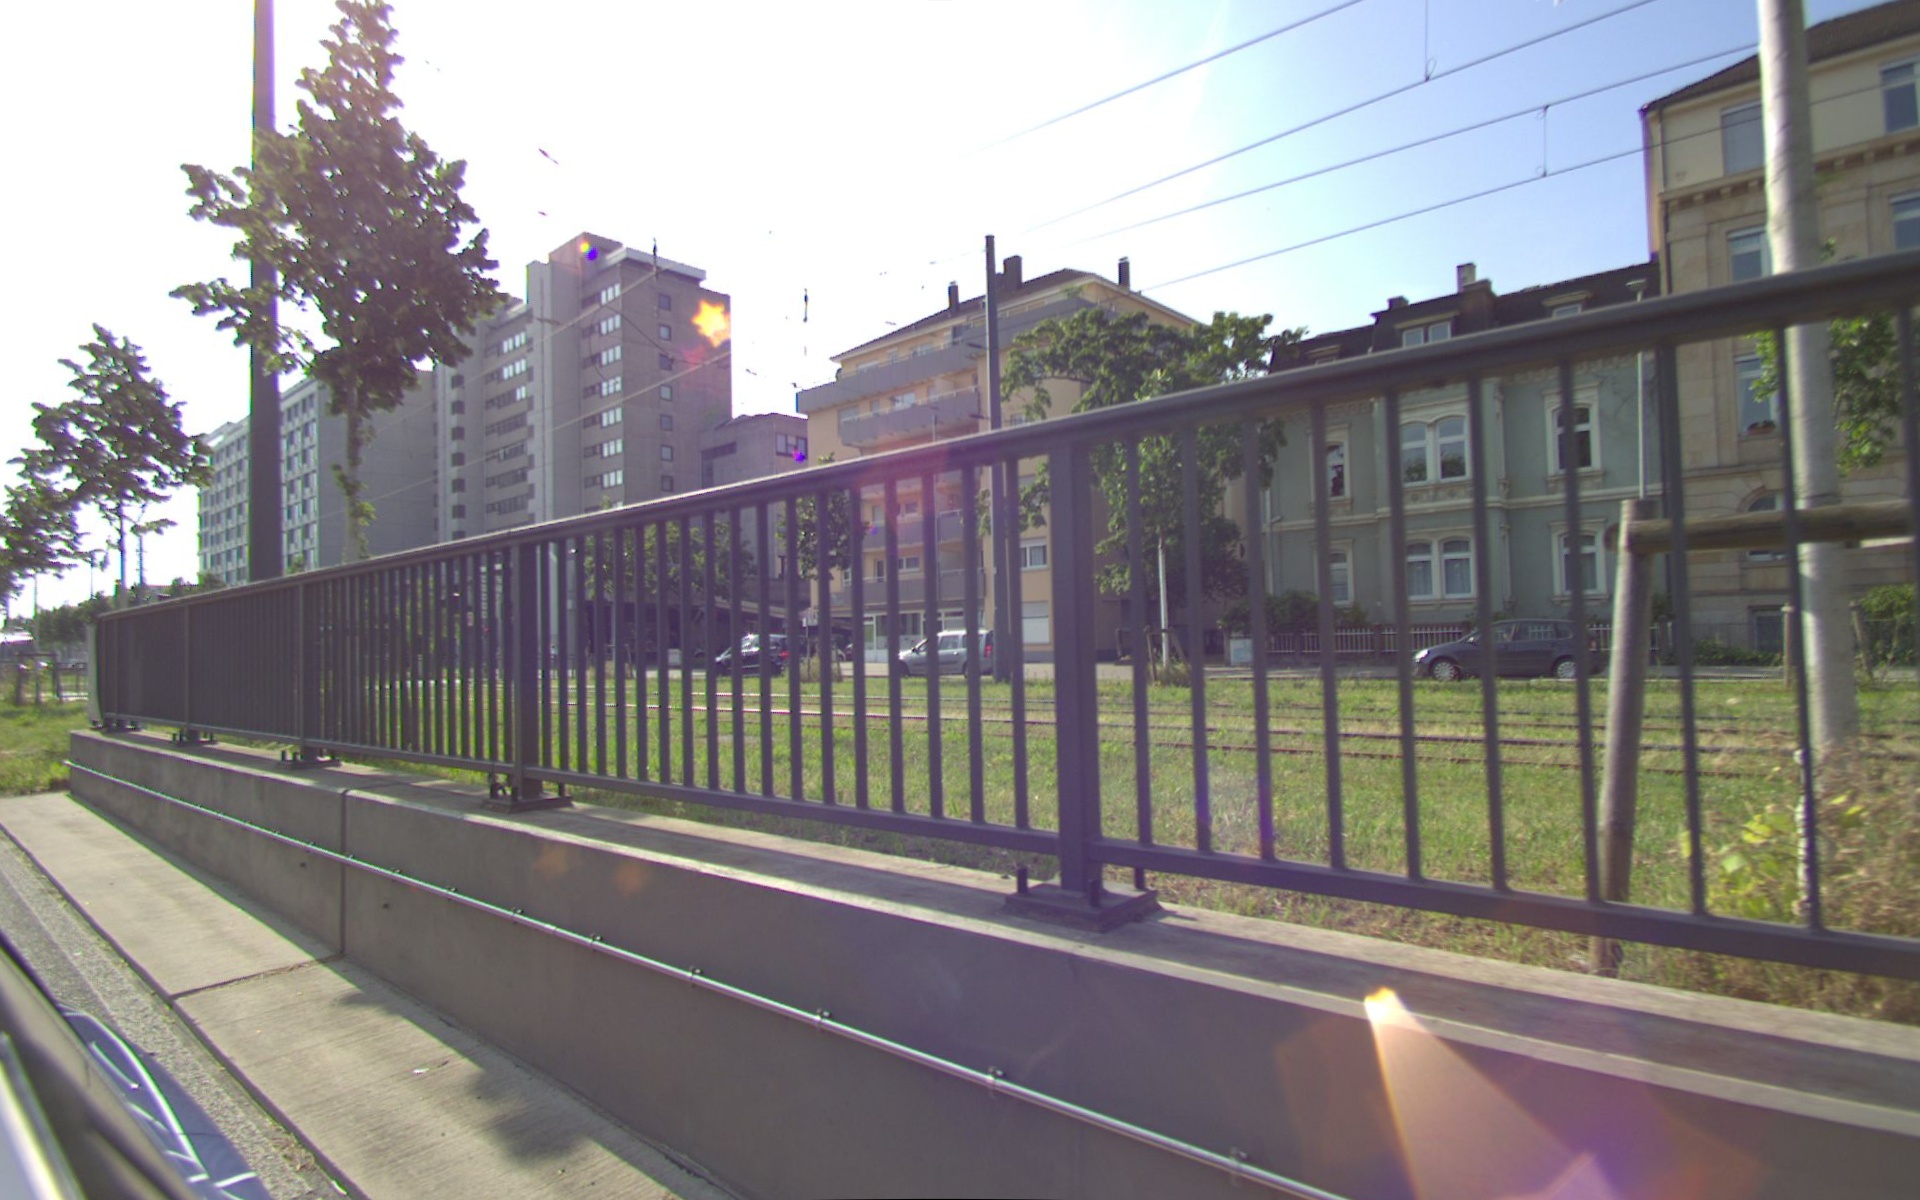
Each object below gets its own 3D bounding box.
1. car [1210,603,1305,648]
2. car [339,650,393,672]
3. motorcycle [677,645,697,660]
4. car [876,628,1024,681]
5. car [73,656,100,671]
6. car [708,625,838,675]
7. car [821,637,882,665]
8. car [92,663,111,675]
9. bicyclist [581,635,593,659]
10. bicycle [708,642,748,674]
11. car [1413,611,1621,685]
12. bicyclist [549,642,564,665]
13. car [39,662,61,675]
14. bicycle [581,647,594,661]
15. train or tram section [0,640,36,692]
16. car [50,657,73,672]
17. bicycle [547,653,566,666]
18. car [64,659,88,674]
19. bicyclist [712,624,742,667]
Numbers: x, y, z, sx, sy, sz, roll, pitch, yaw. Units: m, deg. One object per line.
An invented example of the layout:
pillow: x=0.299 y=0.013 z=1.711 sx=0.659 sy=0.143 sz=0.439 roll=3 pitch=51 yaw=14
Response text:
car: x=12.804 y=1.104 z=43.393 sx=2.164 sy=1.762 sz=4.581 roll=-3 pitch=-3 yaw=40
car: x=-47.991 y=4.877 z=81.853 sx=1.854 sy=1.618 sz=4.108 roll=-2 pitch=-2 yaw=2
motorcycle: x=-20.260 y=3.892 z=75.061 sx=1.946 sy=1.025 sz=0.487 roll=-4 pitch=-3 yaw=43
car: x=-0.378 y=1.752 z=32.581 sx=4.522 sy=1.589 sz=1.974 roll=-3 pitch=-3 yaw=38
car: x=-90.455 y=6.598 z=104.752 sx=4.002 sy=1.492 sz=1.787 roll=-4 pitch=-3 yaw=45
car: x=-6.318 y=1.682 z=33.960 sx=4.394 sy=1.524 sz=1.973 roll=-3 pitch=-3 yaw=40
car: x=-6.759 y=3.163 z=63.185 sx=1.707 sy=1.596 sz=3.588 roll=-6 pitch=-5 yaw=38
car: x=-134.800 y=10.783 z=158.931 sx=4.001 sy=1.681 sz=1.823 roll=-3 pitch=0 yaw=44
bicyclist: x=-23.852 y=3.003 z=64.746 sx=0.676 sy=1.451 sz=0.808 roll=-3 pitch=-1 yaw=-20
bicycle: x=-9.999 y=2.498 z=43.544 sx=1.755 sy=1.356 sz=0.688 roll=-3 pitch=-3 yaw=37
car: x=12.470 y=1.115 z=22.802 sx=3.821 sy=1.475 sz=1.503 roll=-5 pitch=-4 yaw=40
bicyclist: x=-26.782 y=3.529 z=67.189 sx=0.611 sy=1.511 sz=0.987 roll=-2 pitch=-2 yaw=-5
car: x=-110.809 y=8.350 z=123.259 sx=4.002 sy=1.486 sz=1.787 roll=-4 pitch=-3 yaw=45
bicycle: x=-23.878 y=3.479 z=64.890 sx=0.708 sy=0.804 sz=1.609 roll=-3 pitch=0 yaw=-20
train or tram section: x=-67.026 y=4.642 z=71.209 sx=6.669 sy=3.456 sz=2.466 roll=-4 pitch=-3 yaw=43
car: x=-104.796 y=7.496 z=118.003 sx=4.002 sy=1.586 sz=1.787 roll=-4 pitch=-3 yaw=45
bicycle: x=-26.756 y=3.955 z=67.094 sx=0.619 sy=0.799 sz=2.005 roll=-2 pitch=-2 yaw=-5
car: x=-96.078 y=7.206 z=109.959 sx=3.643 sy=1.498 sz=1.721 roll=-1 pitch=-1 yaw=45
bicyclist: x=-10.038 y=1.960 z=43.565 sx=1.081 sy=1.819 sz=0.663 roll=-3 pitch=-3 yaw=36
